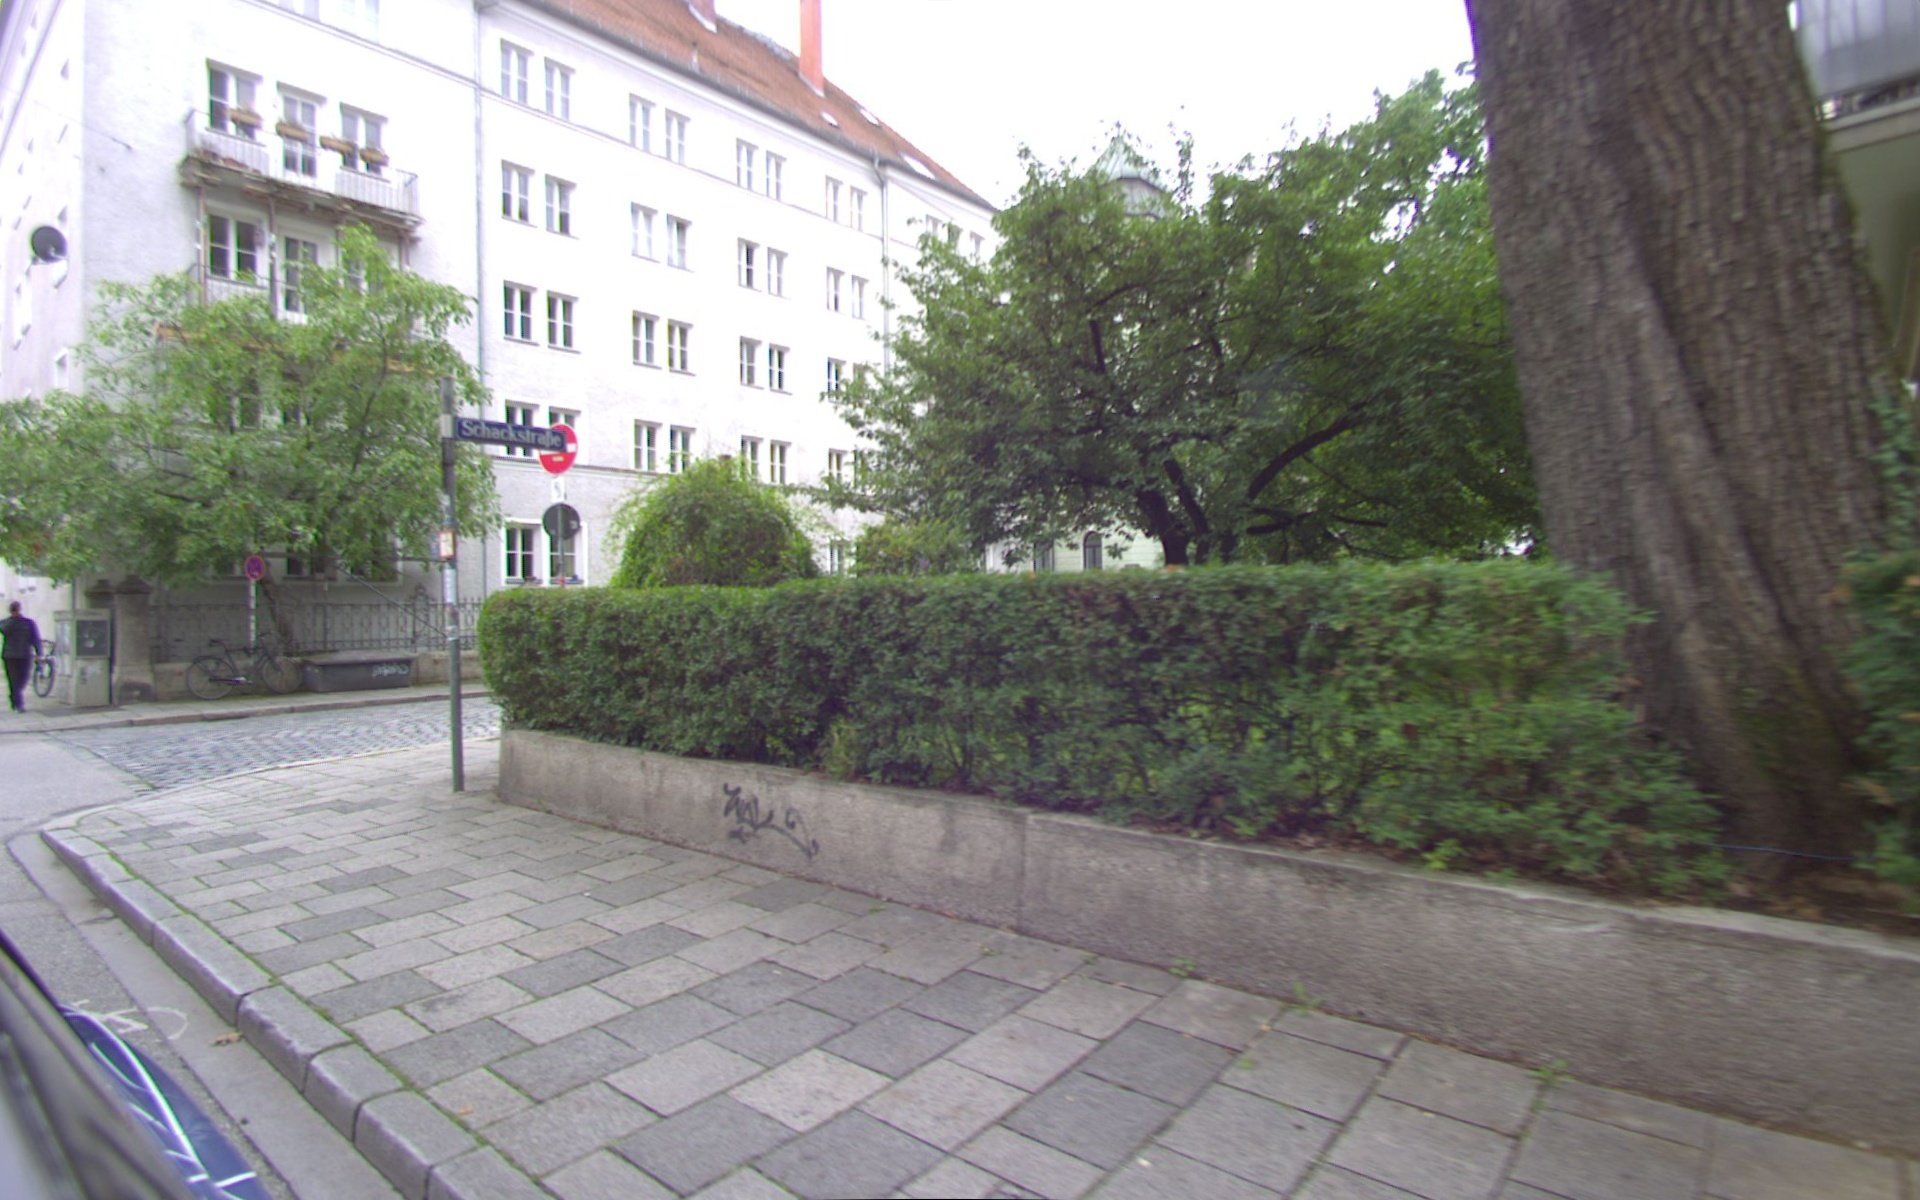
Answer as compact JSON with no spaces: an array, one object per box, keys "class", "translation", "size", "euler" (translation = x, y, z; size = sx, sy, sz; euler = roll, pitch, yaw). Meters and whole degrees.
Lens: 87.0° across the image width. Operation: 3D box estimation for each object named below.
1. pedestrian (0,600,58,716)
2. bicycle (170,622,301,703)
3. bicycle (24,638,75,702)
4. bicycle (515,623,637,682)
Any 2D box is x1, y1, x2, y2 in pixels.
[{"class":"pedestrian","translation":[-14.981,0.905,16.097],"size":[0.739,1.776,0.685],"euler":[-2,1,31]},{"class":"bicycle","translation":[-12.394,1.041,17.361],"size":[0.432,1.270,1.788],"euler":[-2,-1,40]},{"class":"bicycle","translation":[-16.620,1.249,18.454],"size":[1.701,1.103,0.426],"euler":[-2,0,40]},{"class":"bicycle","translation":[-8.206,1.096,21.783],"size":[0.987,1.165,2.466],"euler":[-1,-1,26]}]
